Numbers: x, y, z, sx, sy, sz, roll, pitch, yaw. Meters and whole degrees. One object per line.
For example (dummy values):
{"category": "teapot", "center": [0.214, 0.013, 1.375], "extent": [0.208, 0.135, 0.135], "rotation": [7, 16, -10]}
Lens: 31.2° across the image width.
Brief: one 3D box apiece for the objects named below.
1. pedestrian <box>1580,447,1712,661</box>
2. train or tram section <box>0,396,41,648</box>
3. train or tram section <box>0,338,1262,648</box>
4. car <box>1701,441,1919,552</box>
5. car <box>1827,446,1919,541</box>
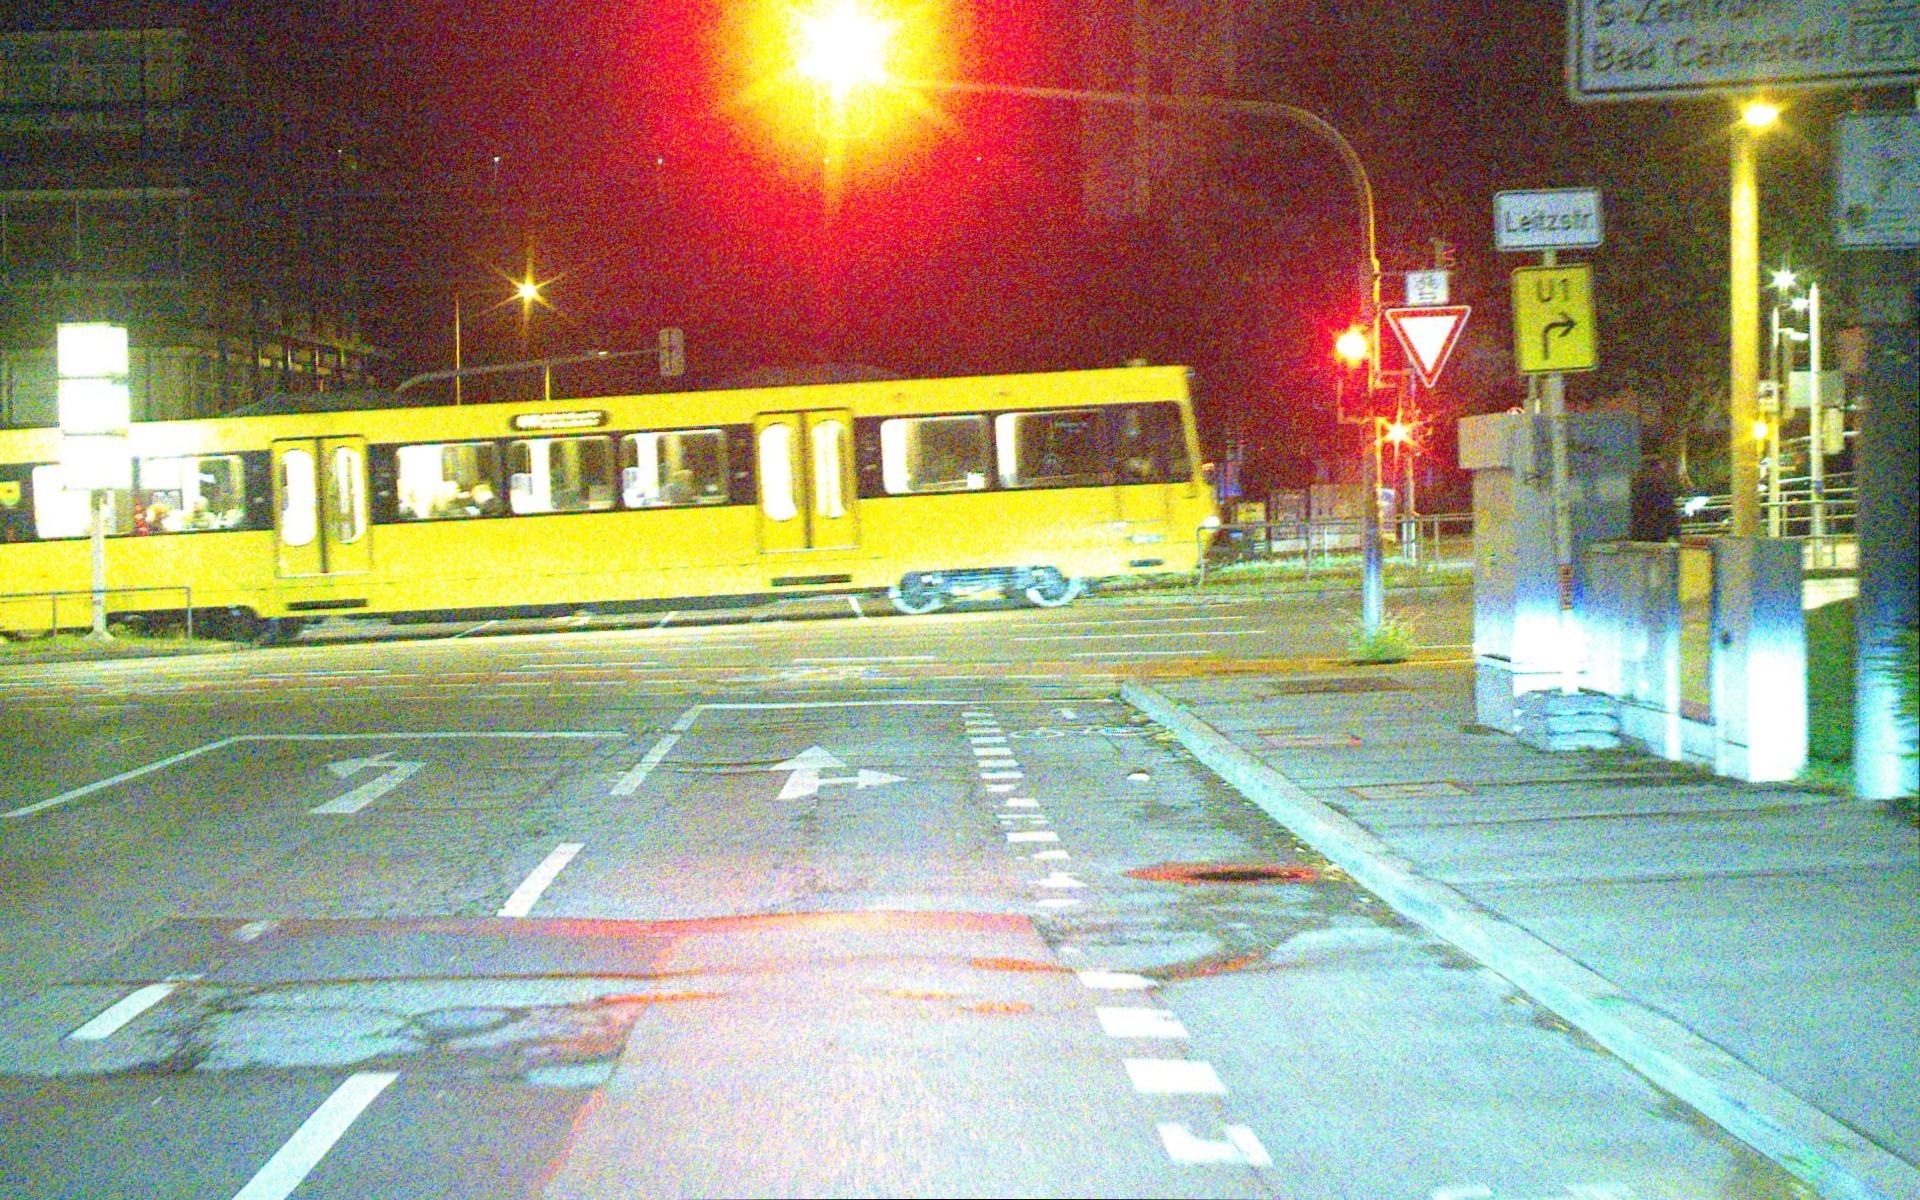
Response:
{"category": "pedestrian", "center": [5.686, -0.384, 28.549], "extent": [0.900, 1.706, 0.775], "rotation": [-3, 0, 5]}
{"category": "train or tram section", "center": [-24.508, -0.849, 53.451], "extent": [19.796, 3.848, 2.940], "rotation": [-2, 1, 5]}
{"category": "train or tram section", "center": [-5.149, -1.558, 51.816], "extent": [19.177, 3.810, 2.923], "rotation": [-2, 1, 5]}
{"category": "car", "center": [15.146, -1.805, 58.533], "extent": [4.614, 1.634, 2.000], "rotation": [-4, 1, 5]}
{"category": "car", "center": [17.988, -2.024, 62.482], "extent": [4.059, 1.610, 1.868], "rotation": [-4, 1, 8]}
